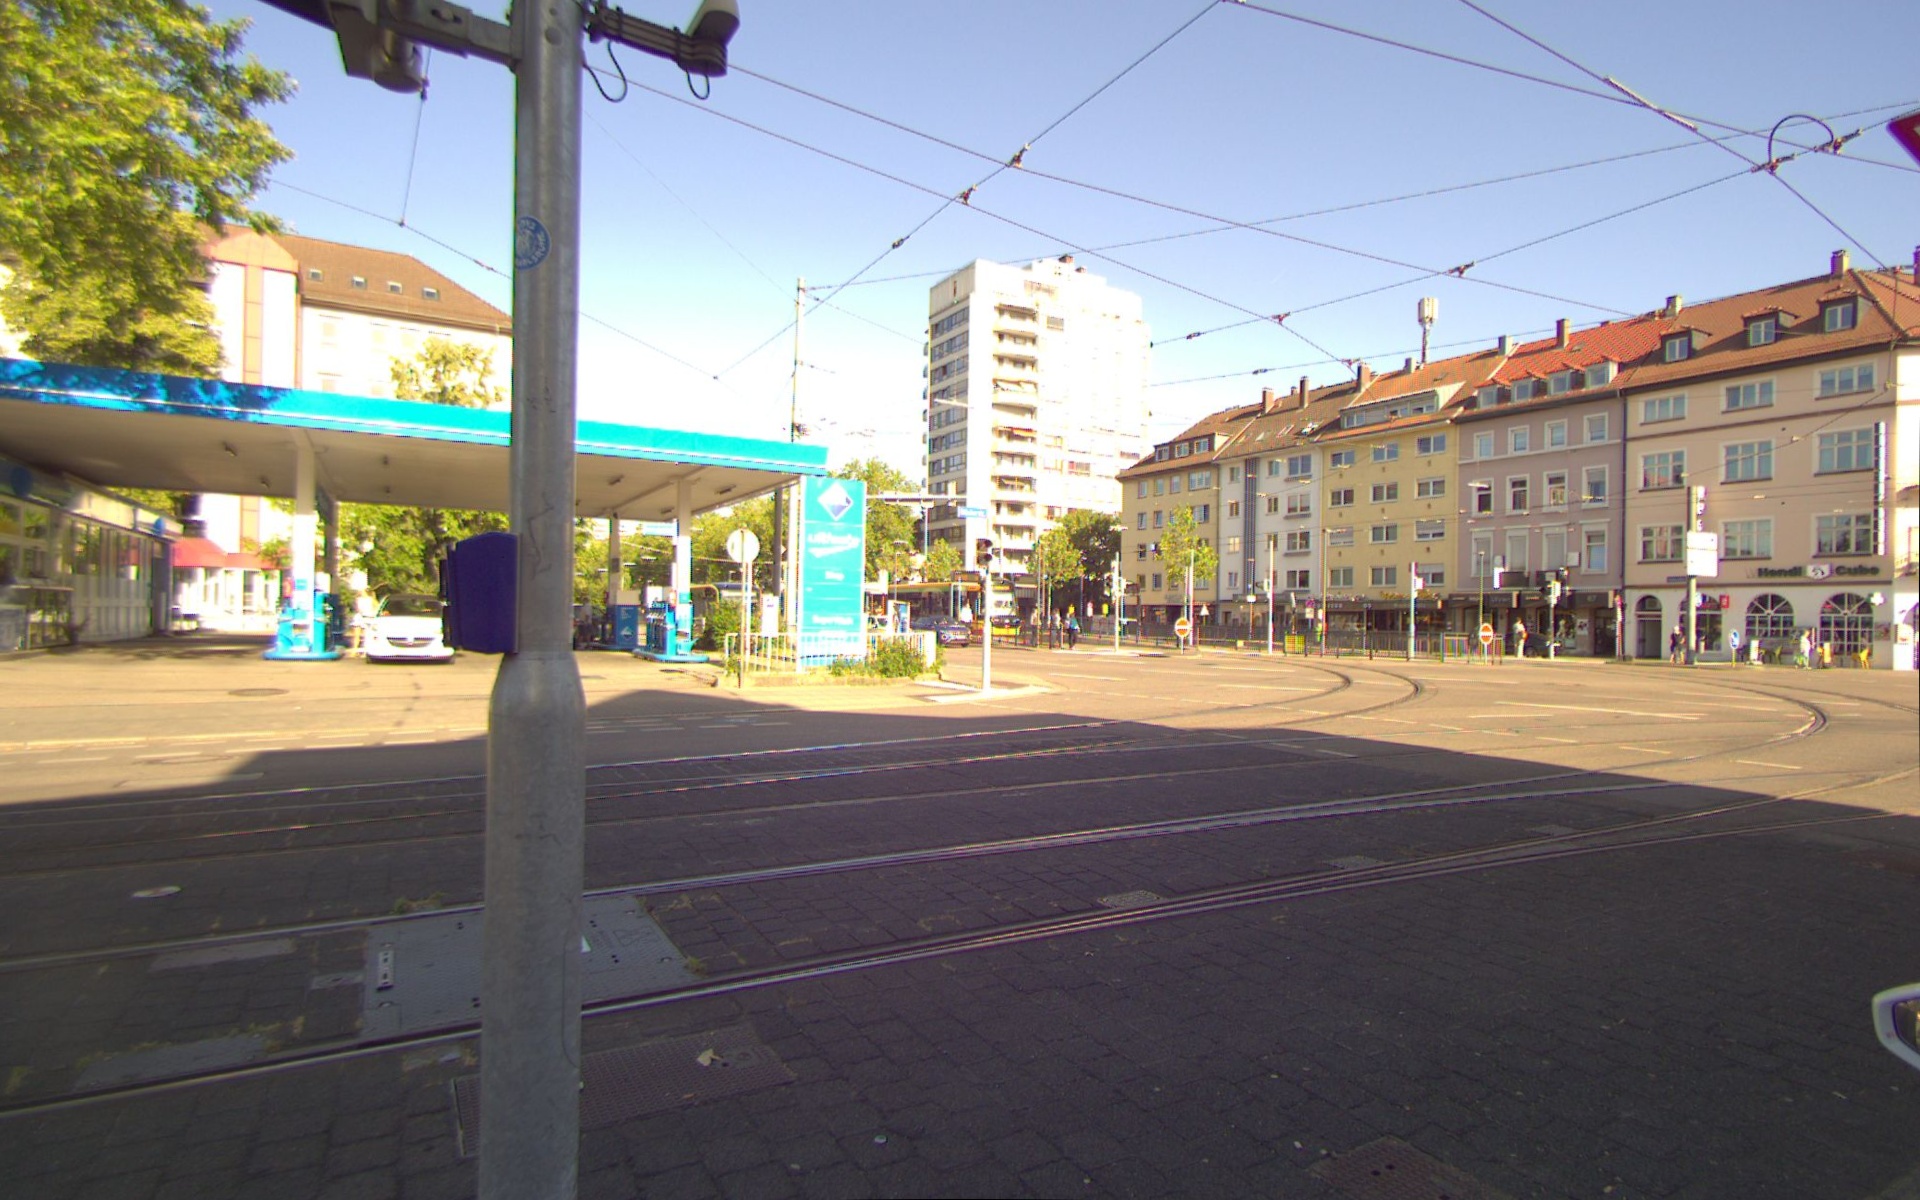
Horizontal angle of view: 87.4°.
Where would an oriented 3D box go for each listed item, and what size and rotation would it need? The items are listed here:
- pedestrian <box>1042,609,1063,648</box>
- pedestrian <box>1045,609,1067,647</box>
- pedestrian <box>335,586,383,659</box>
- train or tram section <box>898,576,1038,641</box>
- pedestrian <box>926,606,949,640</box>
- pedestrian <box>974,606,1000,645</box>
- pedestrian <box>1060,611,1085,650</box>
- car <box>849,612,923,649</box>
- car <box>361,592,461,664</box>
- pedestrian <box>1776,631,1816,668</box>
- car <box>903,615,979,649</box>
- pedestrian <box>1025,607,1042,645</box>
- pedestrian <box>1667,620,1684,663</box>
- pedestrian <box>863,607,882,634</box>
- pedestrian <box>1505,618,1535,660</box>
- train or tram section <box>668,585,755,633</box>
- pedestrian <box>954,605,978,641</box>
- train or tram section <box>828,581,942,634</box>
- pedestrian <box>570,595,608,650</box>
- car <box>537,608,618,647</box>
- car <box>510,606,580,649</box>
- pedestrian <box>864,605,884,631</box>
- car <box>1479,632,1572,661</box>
[{"bbox_3d":[4.111,1.263,44.662,0.549,1.721,0.740,1,-1,-33],"label":"pedestrian"},{"bbox_3d":[4.470,1.309,46.797,0.773,1.721,0.692,1,-1,-33],"label":"pedestrian"},{"bbox_3d":[-13.902,0.509,23.236,0.807,1.652,0.639,1,-1,-43],"label":"pedestrian"},{"bbox_3d":[0.230,0.523,58.964,3.252,3.459,10.157,1,-1,-33],"label":"train or tram section"},{"bbox_3d":[-1.241,1.271,55.220,0.902,1.826,0.887,1,-1,-33],"label":"pedestrian"},{"bbox_3d":[1.286,1.233,48.517,0.902,1.826,0.887,1,-1,-33],"label":"pedestrian"},{"bbox_3d":[4.882,1.306,43.464,0.791,1.646,0.706,1,-1,-33],"label":"pedestrian"},{"bbox_3d":[-3.507,1.399,46.807,1.976,1.615,3.970,1,-1,-29],"label":"car"},{"bbox_3d":[-12.273,0.611,22.434,1.773,1.461,3.968,2,-1,-30],"label":"car"},{"bbox_3d":[37.624,2.201,45.222,1.029,1.612,1.061,1,-1,-28],"label":"pedestrian"},{"bbox_3d":[-0.959,1.497,48.349,1.937,1.475,4.077,1,0,-30],"label":"car"},{"bbox_3d":[3.372,1.208,46.065,0.491,1.721,0.553,1,-1,-33],"label":"pedestrian"},{"bbox_3d":[34.210,1.987,48.021,0.498,2.040,0.507,1,-1,-27],"label":"pedestrian"},{"bbox_3d":[-5.487,1.264,62.855,0.902,1.646,0.887,1,-1,-33],"label":"pedestrian"},{"bbox_3d":[24.495,1.699,43.956,0.801,1.842,0.871,1,-1,-29],"label":"pedestrian"},{"bbox_3d":[-15.031,0.458,60.040,2.233,2.627,10.398,2,0,-30],"label":"train or tram section"},{"bbox_3d":[0.312,1.177,51.904,0.902,1.826,0.887,1,-1,-33],"label":"pedestrian"},{"bbox_3d":[-5.251,0.527,67.583,3.252,3.335,10.157,1,-1,-33],"label":"train or tram section"},{"bbox_3d":[-12.524,0.769,33.926,0.893,1.826,0.896,1,-1,1],"label":"pedestrian"},{"bbox_3d":[-17.204,1.218,45.383,1.960,1.685,4.001,1,-1,2],"label":"car"},{"bbox_3d":[-13.503,0.869,32.578,1.752,1.332,3.520,1,-1,-28],"label":"car"},{"bbox_3d":[-5.499,1.171,64.173,0.902,1.646,0.887,1,-1,-33],"label":"pedestrian"},{"bbox_3d":[30.775,2.500,54.715,1.980,1.483,3.962,1,-1,-34],"label":"car"}]
